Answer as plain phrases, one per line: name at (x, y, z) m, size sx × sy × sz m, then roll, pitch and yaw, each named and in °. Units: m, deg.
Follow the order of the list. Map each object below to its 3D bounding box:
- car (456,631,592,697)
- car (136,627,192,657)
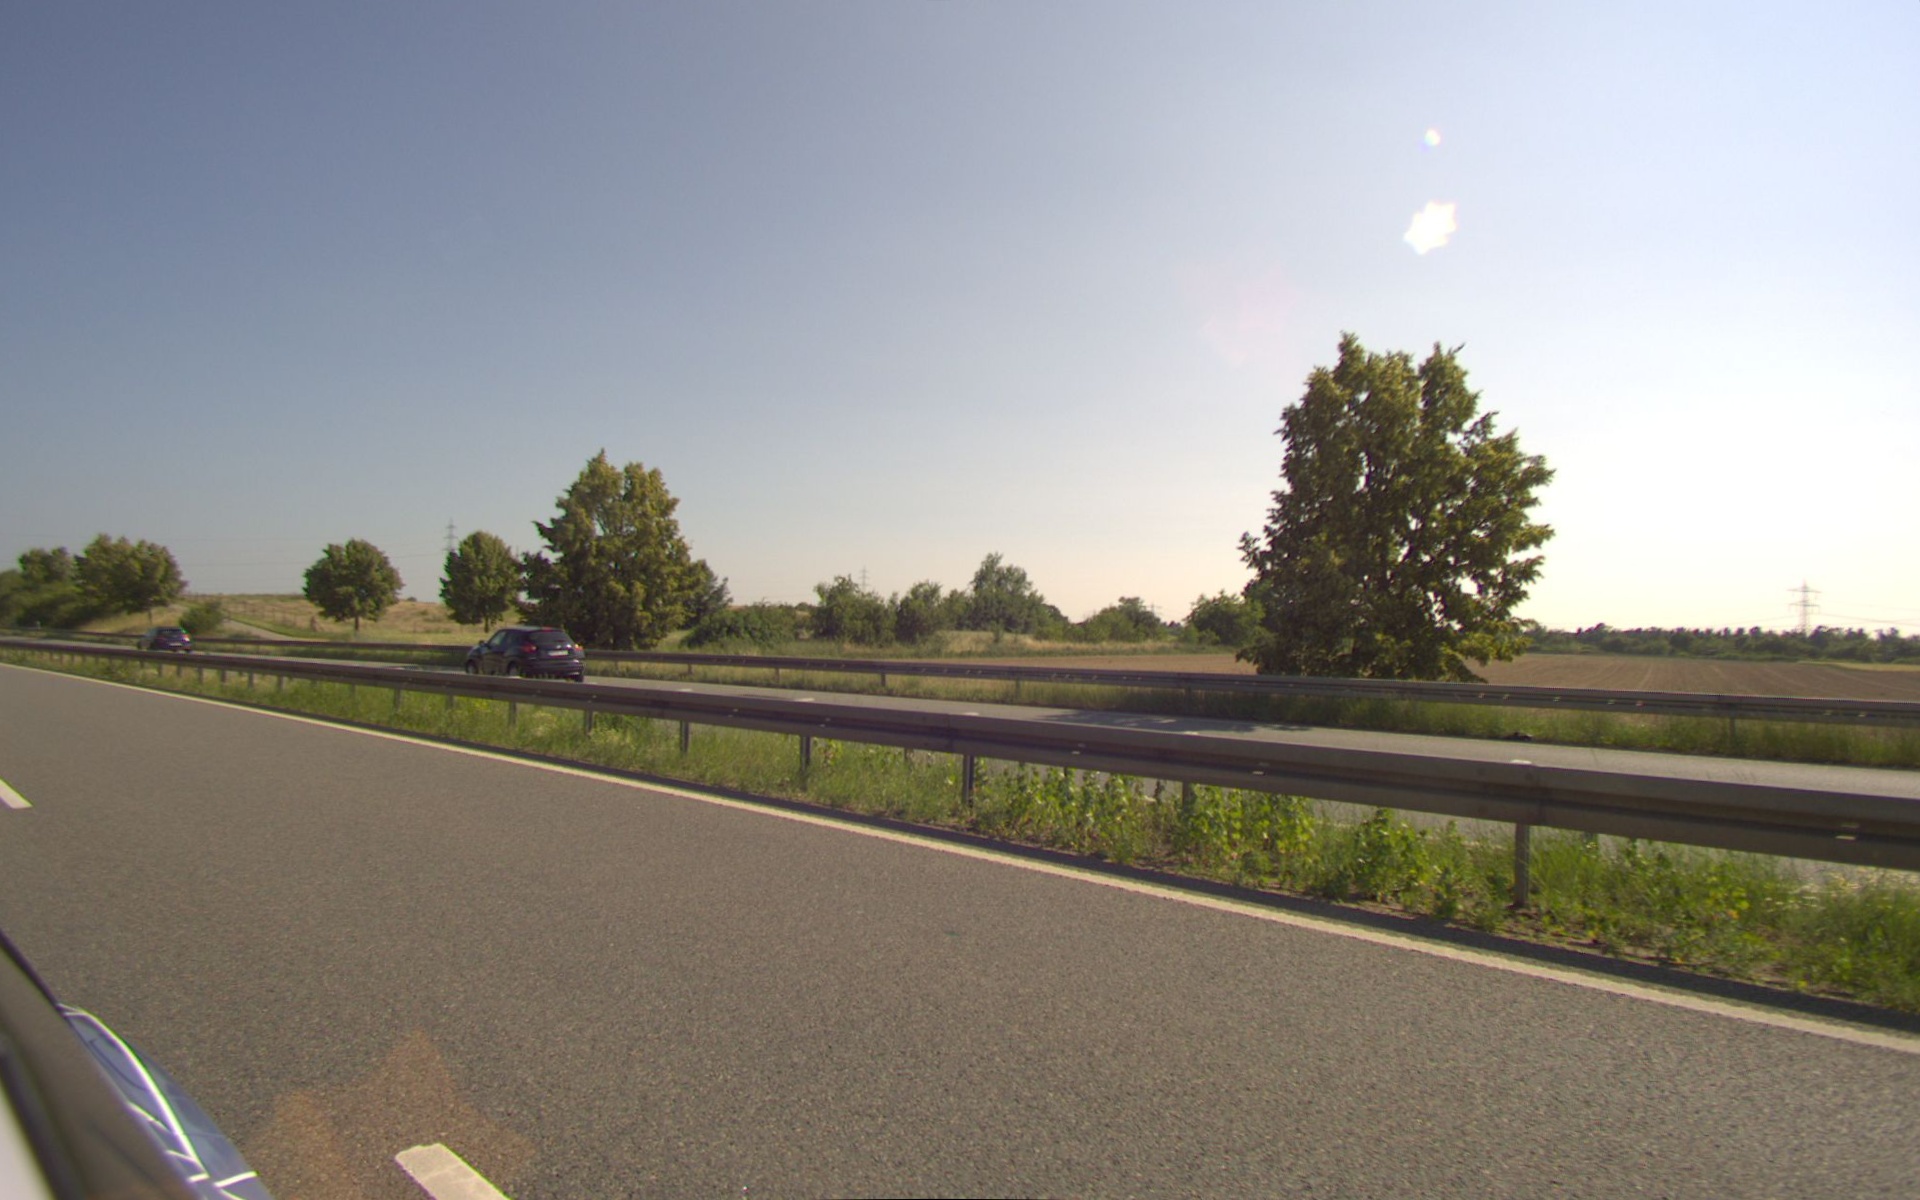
car at (-11.333, 1.586, 26.167) m, size 4.243 × 1.553 × 1.672 m, roll -2°, pitch -2°, yaw 43°
car at (-44.013, 2.294, 55.950) m, size 4.559 × 1.565 × 1.635 m, roll -1°, pitch 0°, yaw 41°
